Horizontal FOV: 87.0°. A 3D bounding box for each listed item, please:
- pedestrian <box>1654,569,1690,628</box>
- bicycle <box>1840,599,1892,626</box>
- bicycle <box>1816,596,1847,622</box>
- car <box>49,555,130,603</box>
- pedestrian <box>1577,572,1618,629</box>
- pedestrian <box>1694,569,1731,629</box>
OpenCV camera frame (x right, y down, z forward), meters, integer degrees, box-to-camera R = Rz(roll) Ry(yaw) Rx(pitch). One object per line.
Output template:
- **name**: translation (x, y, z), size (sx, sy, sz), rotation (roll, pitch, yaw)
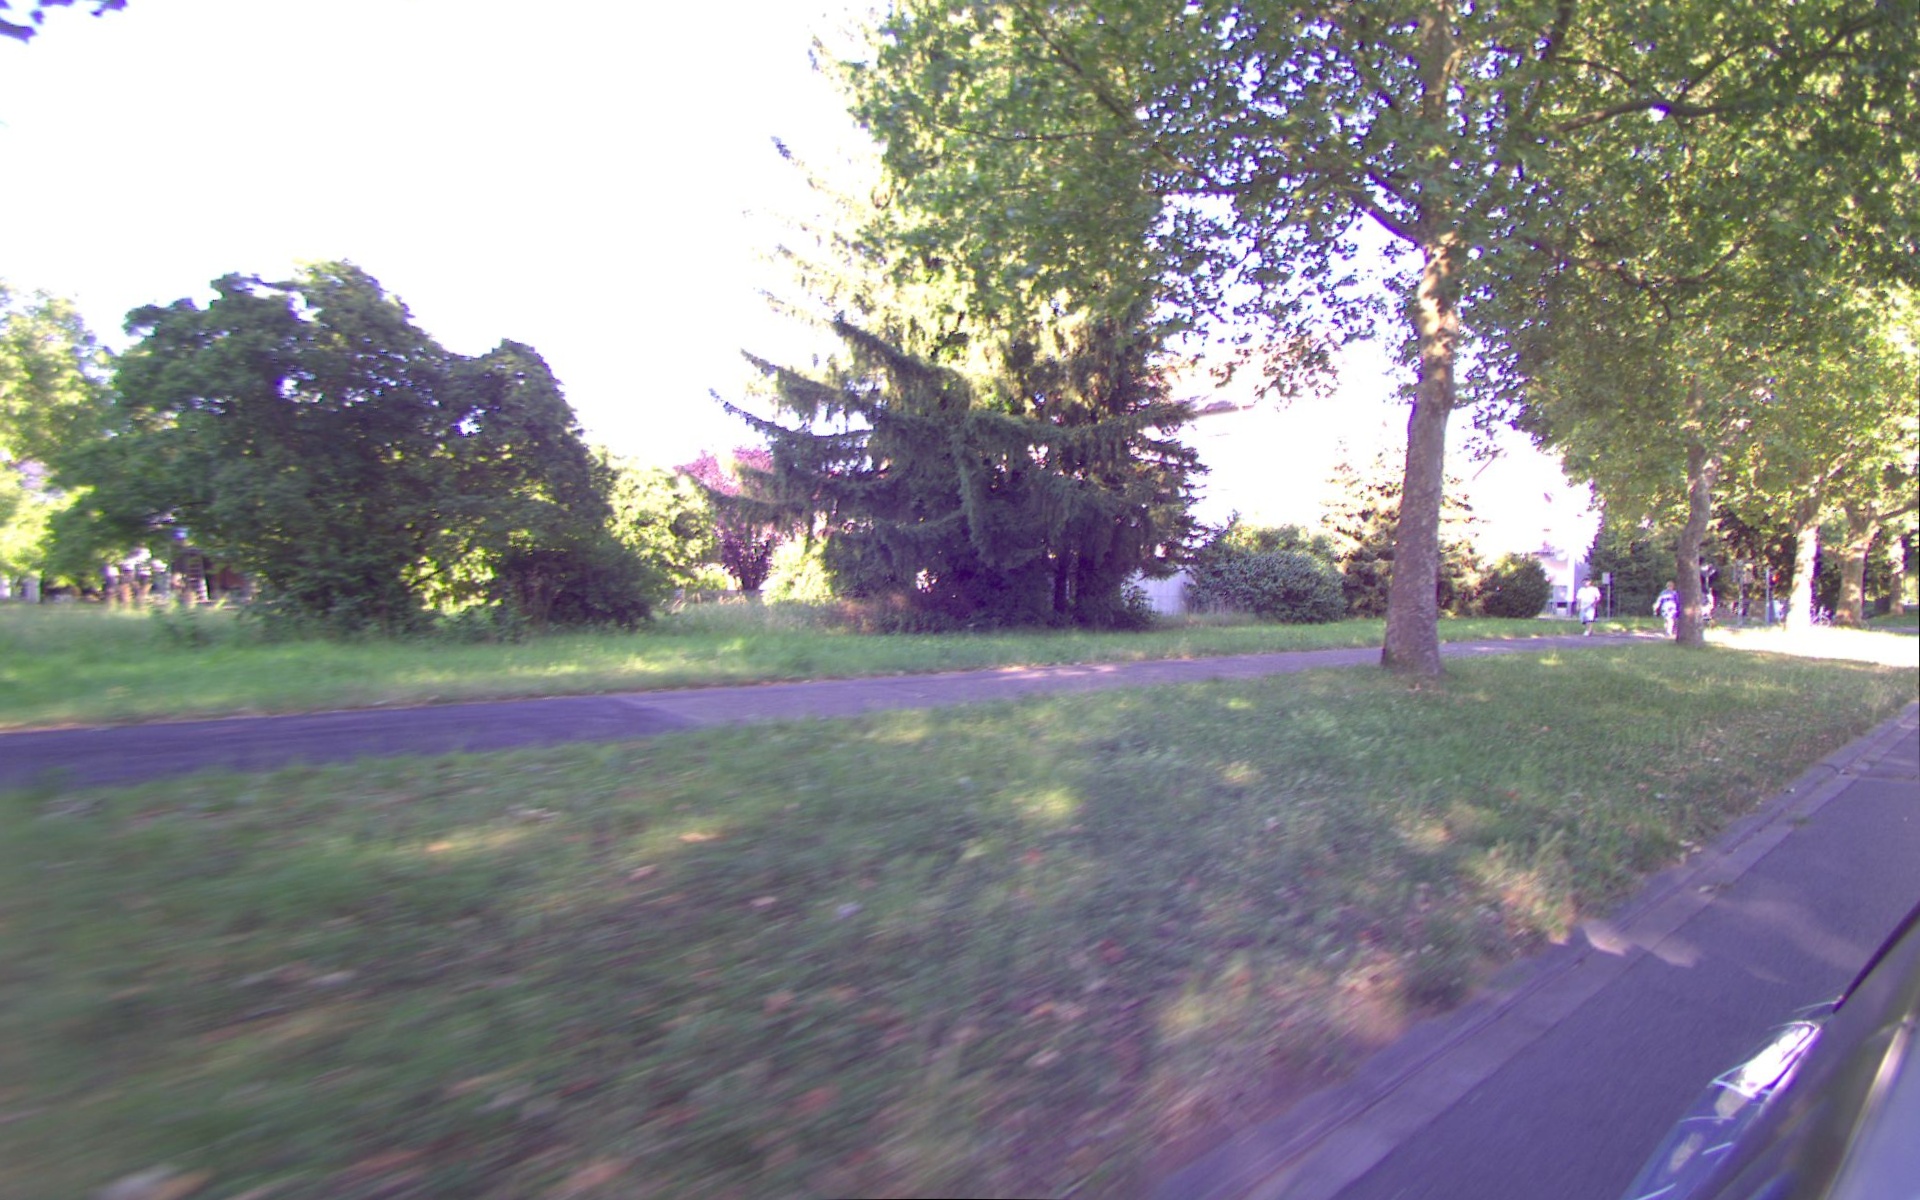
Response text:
- **pedestrian**: translation (23.156, -0.052, 32.908), size (0.788, 1.870, 0.756), rotation (1, 1, -40)
- **bicycle**: translation (38.710, 0.524, 43.271), size (0.437, 1.048, 1.723), rotation (3, 0, -9)
- **bicycle**: translation (37.308, 0.387, 43.343), size (0.442, 1.096, 1.989), rotation (3, 1, 26)
- **car**: translation (-39.046, -0.928, 45.483), size (1.960, 2.039, 4.004), rotation (-2, 1, -30)
- **pedestrian**: translation (19.170, 0.021, 30.438), size (0.923, 1.670, 0.781), rotation (1, 1, -42)
- **pedestrian**: translation (23.813, -0.049, 32.032), size (0.773, 1.869, 0.763), rotation (1, 1, -40)
